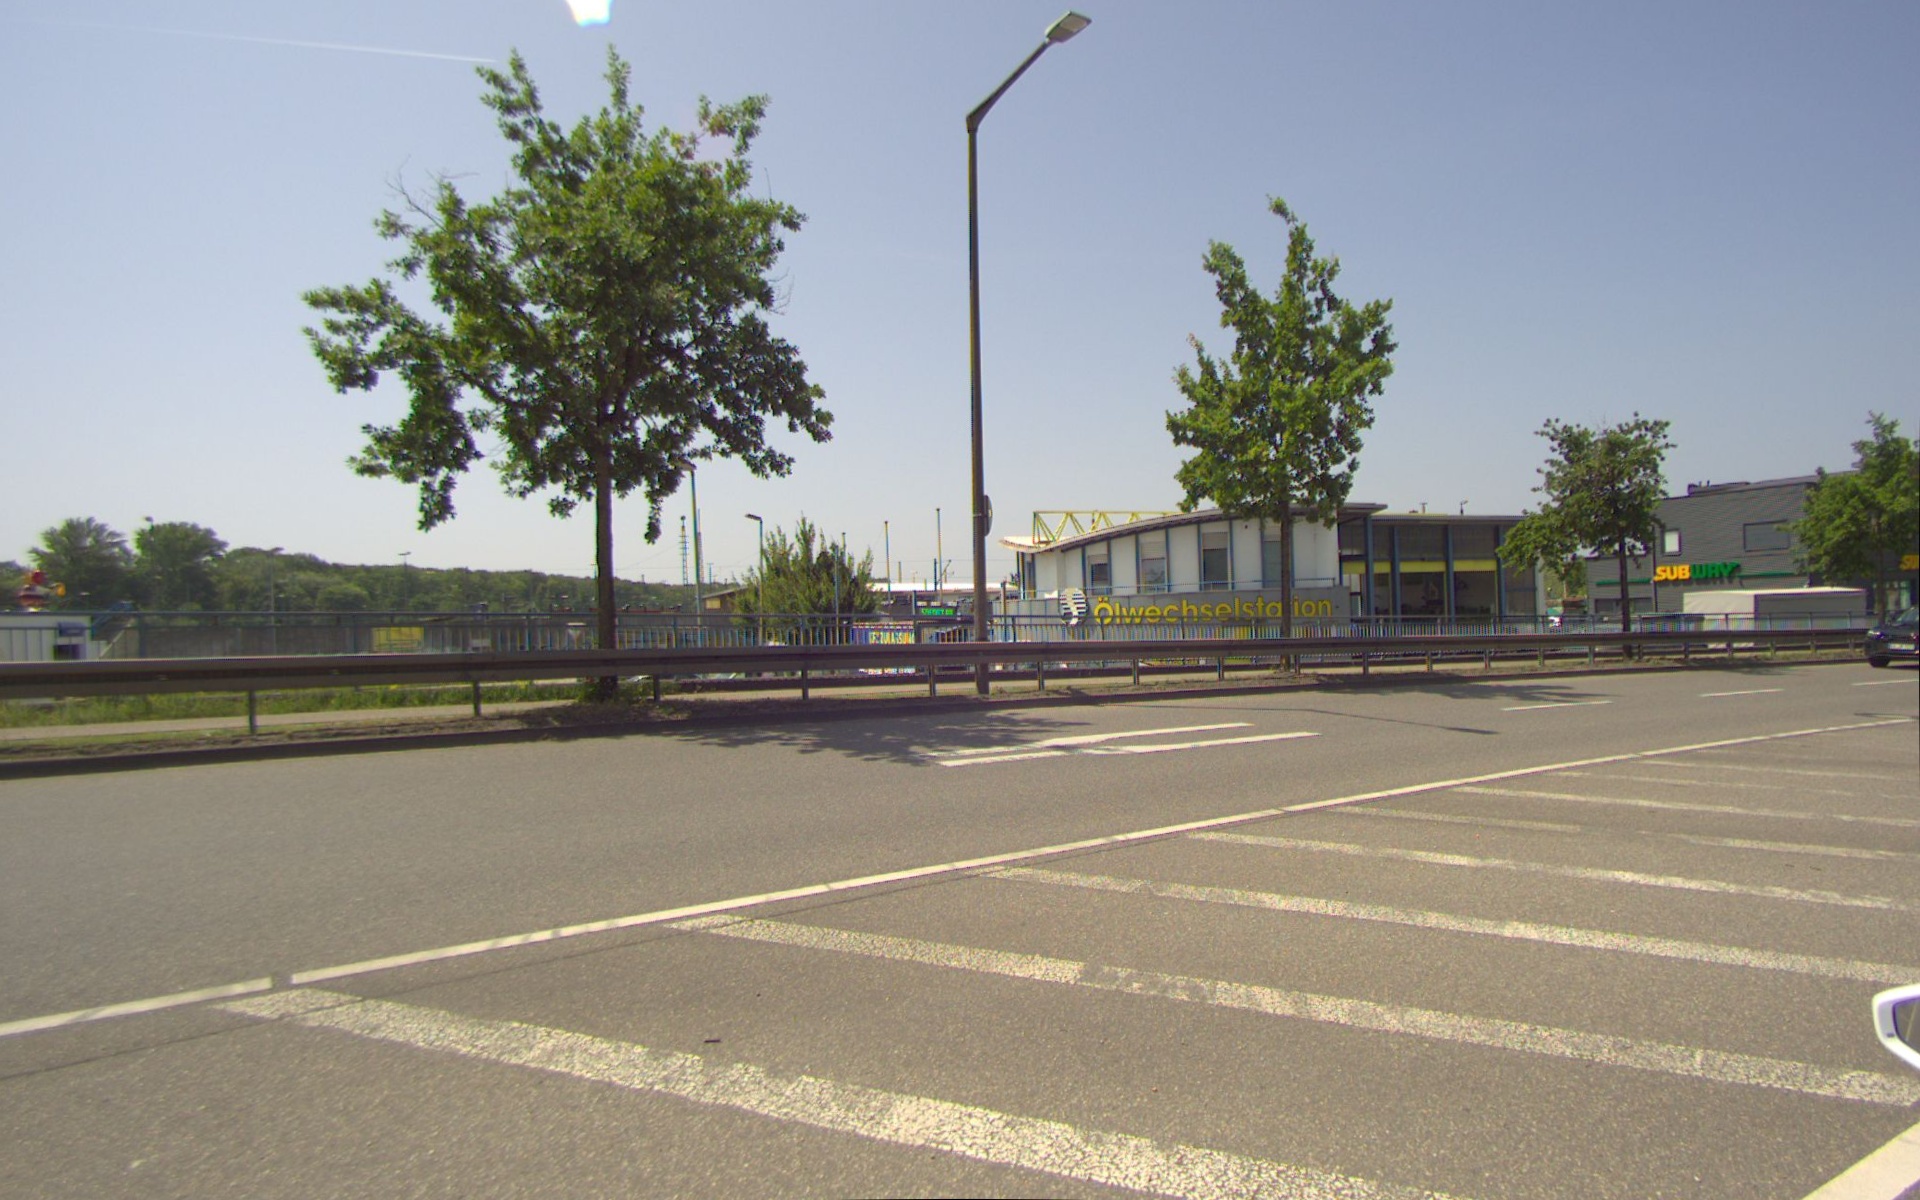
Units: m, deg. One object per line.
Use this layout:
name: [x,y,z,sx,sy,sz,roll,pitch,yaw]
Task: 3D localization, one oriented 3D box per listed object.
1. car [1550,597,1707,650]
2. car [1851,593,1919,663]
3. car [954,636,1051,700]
car: [21.436,0.752,32.223,4.571,1.589,1.895,0,-3,-21]
car: [25.124,0.698,25.559,4.343,1.674,1.911,1,0,-22]
car: [1.496,2.417,36.688,1.972,2.040,3.976,-1,0,-24]
